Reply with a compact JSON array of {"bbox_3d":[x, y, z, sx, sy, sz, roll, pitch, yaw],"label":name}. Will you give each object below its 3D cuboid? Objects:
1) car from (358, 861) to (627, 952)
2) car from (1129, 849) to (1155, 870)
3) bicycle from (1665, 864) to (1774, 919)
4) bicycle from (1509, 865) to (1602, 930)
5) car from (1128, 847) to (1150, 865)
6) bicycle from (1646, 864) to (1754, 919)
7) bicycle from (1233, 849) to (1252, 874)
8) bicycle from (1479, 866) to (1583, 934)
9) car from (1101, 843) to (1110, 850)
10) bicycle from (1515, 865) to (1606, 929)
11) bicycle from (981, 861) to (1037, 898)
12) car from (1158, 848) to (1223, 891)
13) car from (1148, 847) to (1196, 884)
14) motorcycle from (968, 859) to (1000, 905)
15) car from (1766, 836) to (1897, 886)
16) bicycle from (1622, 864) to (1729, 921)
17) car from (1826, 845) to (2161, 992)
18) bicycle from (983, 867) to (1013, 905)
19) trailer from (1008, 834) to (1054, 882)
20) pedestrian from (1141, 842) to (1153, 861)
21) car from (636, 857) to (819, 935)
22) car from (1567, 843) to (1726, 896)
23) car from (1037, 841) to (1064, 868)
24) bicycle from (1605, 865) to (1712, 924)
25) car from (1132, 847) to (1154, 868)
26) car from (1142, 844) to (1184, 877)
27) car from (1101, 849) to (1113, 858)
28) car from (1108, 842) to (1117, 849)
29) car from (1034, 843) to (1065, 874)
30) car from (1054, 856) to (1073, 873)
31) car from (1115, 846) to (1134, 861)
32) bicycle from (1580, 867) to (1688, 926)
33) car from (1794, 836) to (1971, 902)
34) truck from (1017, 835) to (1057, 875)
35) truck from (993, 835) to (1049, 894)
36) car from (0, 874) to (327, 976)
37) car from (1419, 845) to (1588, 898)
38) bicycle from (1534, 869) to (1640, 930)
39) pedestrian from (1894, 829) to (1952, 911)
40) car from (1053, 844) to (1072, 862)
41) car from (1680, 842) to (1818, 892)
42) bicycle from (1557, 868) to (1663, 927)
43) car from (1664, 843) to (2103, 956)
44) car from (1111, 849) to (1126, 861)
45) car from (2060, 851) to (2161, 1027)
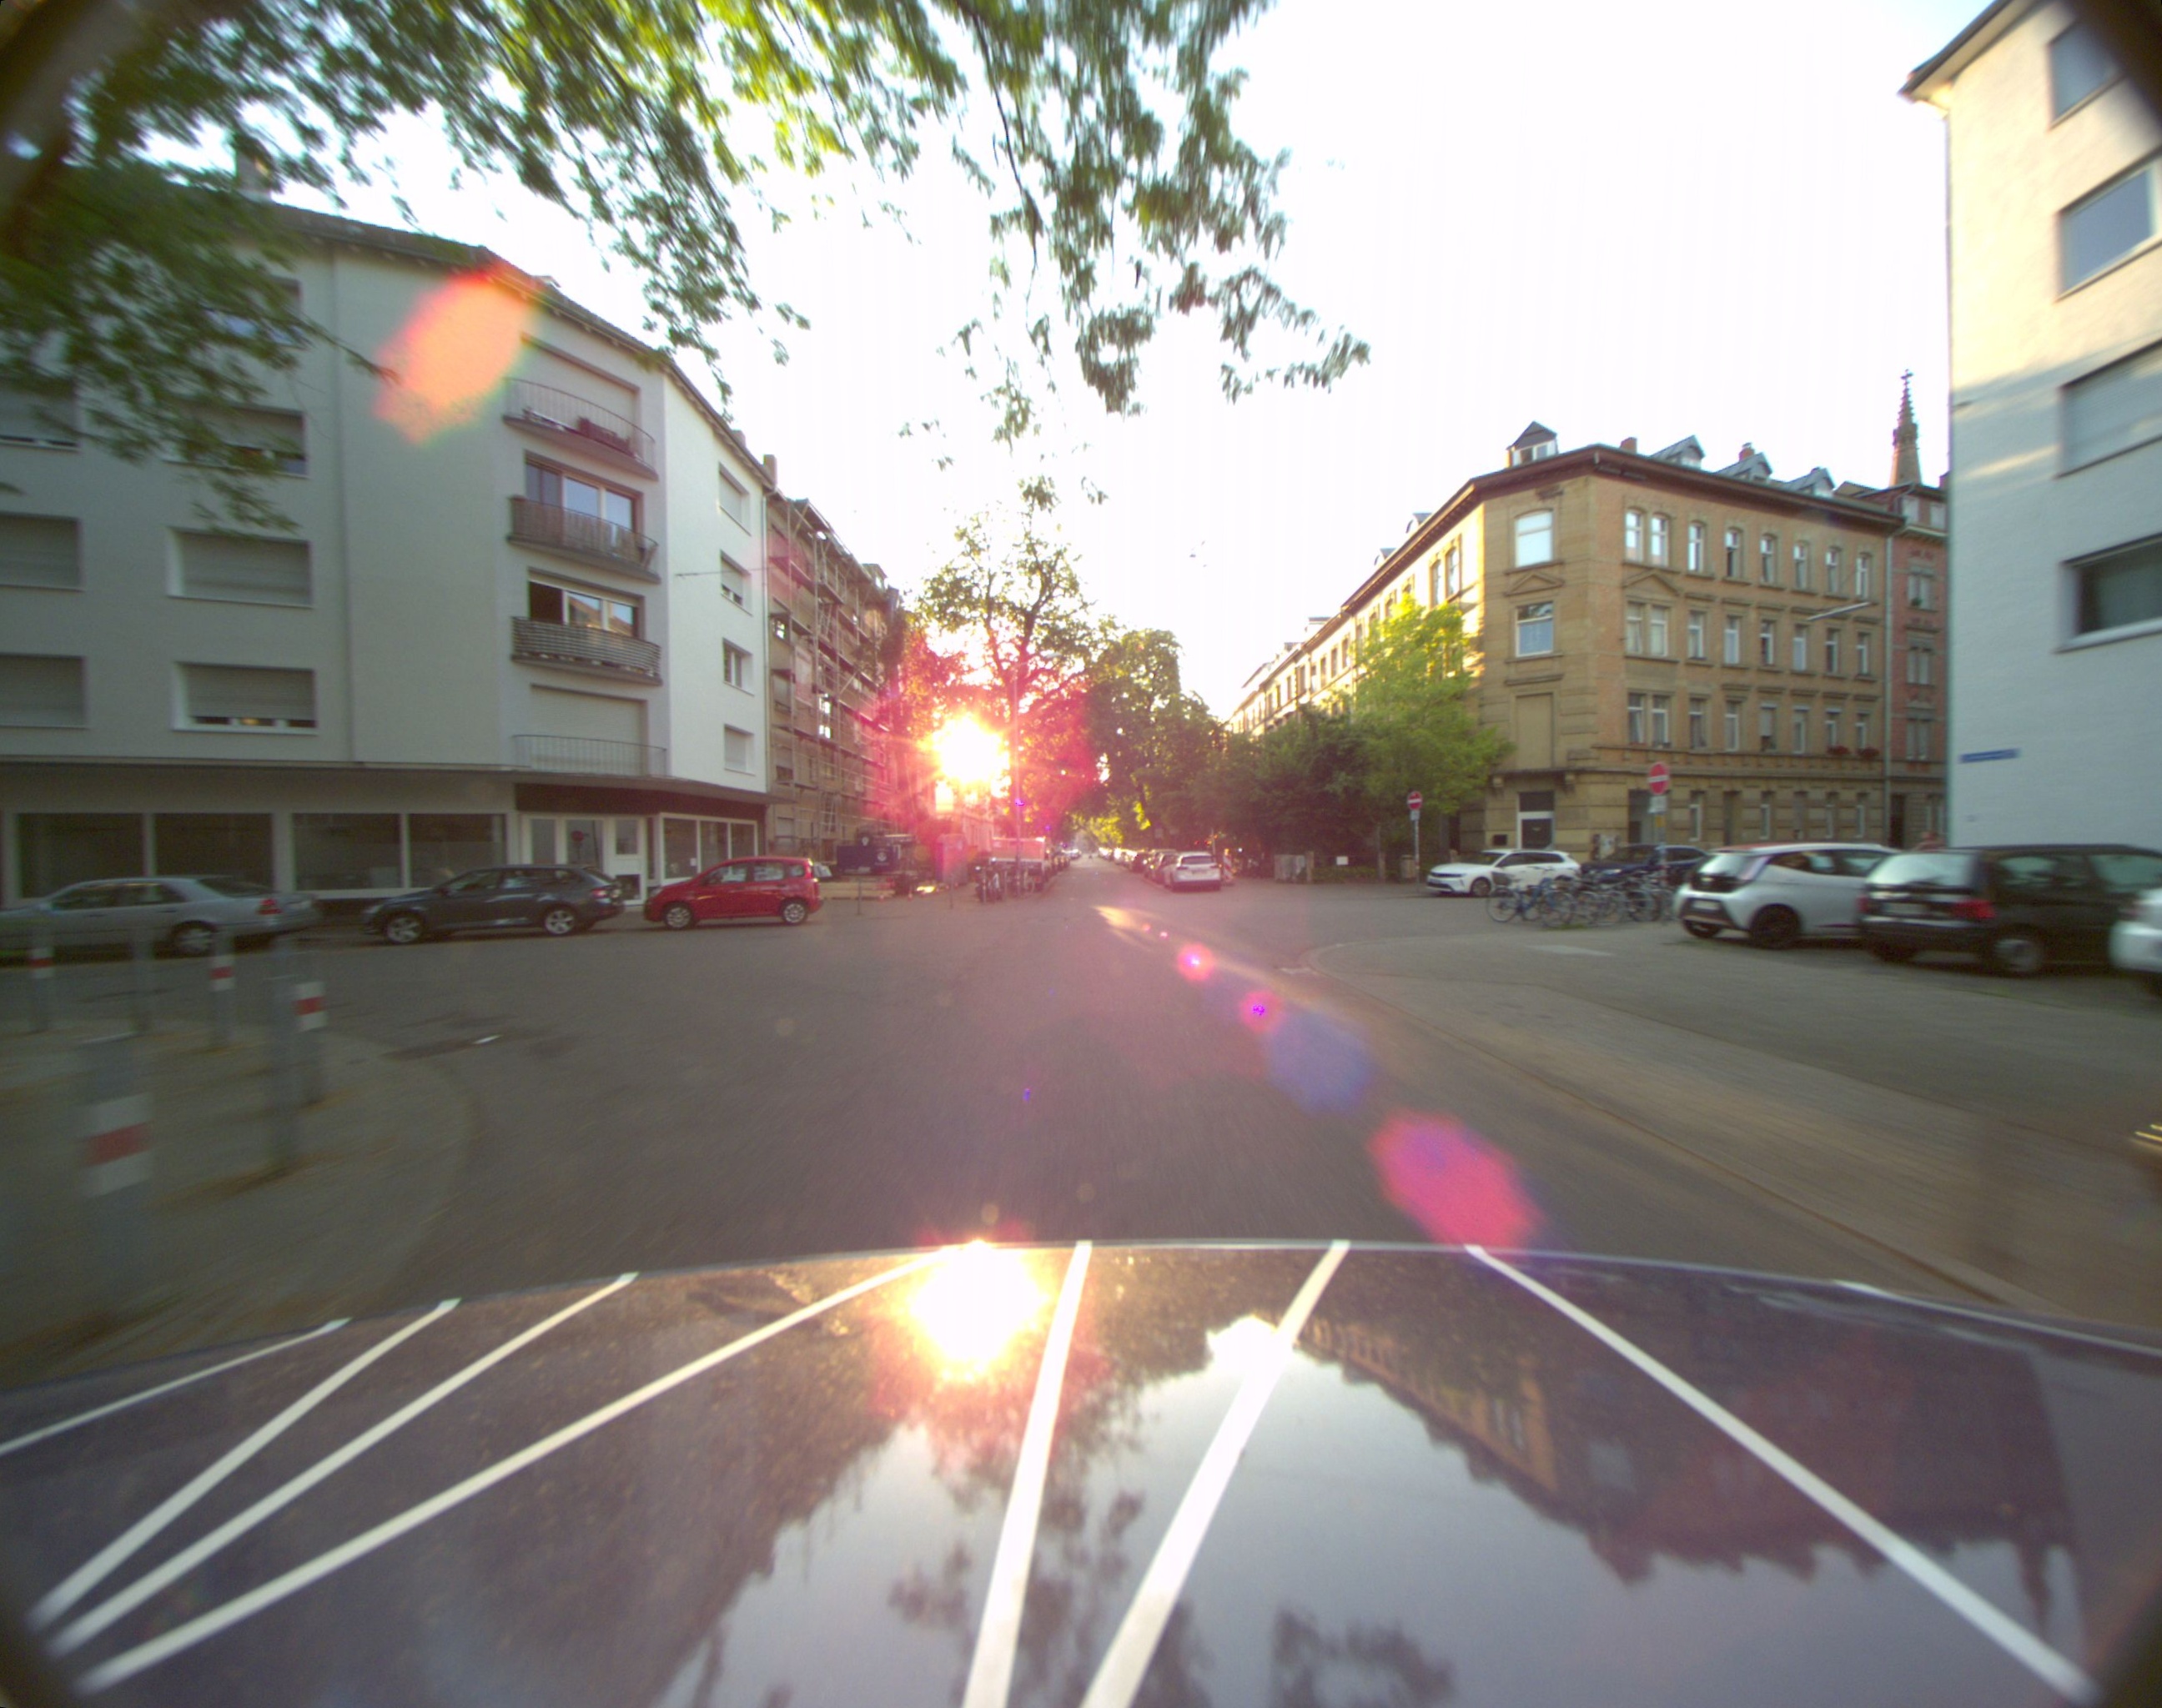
[{"bbox_3d":[-11.560,0.972,15.258,3.900,1.499,1.623,-2,0,-20],"label":"car"},{"bbox_3d":[4.406,0.378,55.598,1.555,1.477,3.693,0,0,-1],"label":"car"},{"bbox_3d":[14.023,0.802,16.754,0.367,1.110,1.848,-2,1,-25],"label":"bicycle"},{"bbox_3d":[9.357,0.829,15.050,0.243,1.174,1.676,-2,1,-25],"label":"bicycle"},{"bbox_3d":[4.880,0.154,64.527,1.607,1.427,3.885,-3,0,2],"label":"car"},{"bbox_3d":[13.510,0.782,16.640,0.367,1.110,1.848,-2,1,-25],"label":"bicycle"},{"bbox_3d":[8.559,0.391,40.296,0.606,1.277,2.489,0,1,21],"label":"bicycle"},{"bbox_3d":[8.738,0.862,14.840,0.338,1.174,1.873,-2,2,-25],"label":"bicycle"},{"bbox_3d":[5.101,-1.583,156.842,1.617,1.433,4.104,-2,0,-1],"label":"car"},{"bbox_3d":[9.566,0.828,15.227,0.243,1.174,1.676,-2,1,-25],"label":"bicycle"},{"bbox_3d":[-2.514,0.902,26.623,1.908,1.251,0.406,1,1,-5],"label":"bicycle"},{"bbox_3d":[4.254,0.572,30.265,1.694,1.493,4.737,-3,0,-1],"label":"car"},{"bbox_3d":[4.258,0.506,36.117,1.694,1.494,4.401,-3,1,0],"label":"car"},{"bbox_3d":[-3.104,0.883,24.544,0.503,1.349,2.062,2,1,7],"label":"motorcycle"},{"bbox_3d":[26.795,0.208,27.148,3.878,1.637,1.705,-1,3,-18],"label":"car"},{"bbox_3d":[12.759,0.795,16.376,0.367,1.145,1.848,-2,1,-25],"label":"bicycle"},{"bbox_3d":[11.273,0.641,8.336,4.099,1.439,1.819,-1,0,11],"label":"car"},{"bbox_3d":[-2.627,0.997,24.220,0.406,1.103,2.156,2,1,8],"label":"bicycle"},{"bbox_3d":[-2.506,0.183,39.264,1.959,2.282,4.644,2,0,0],"label":"trailer"},{"bbox_3d":[7.082,-0.275,81.501,0.869,2.002,1.007,-1,1,-20],"label":"pedestrian"},{"bbox_3d":[-7.648,0.864,16.789,3.481,1.564,1.624,0,0,-19],"label":"car"},{"bbox_3d":[17.947,0.448,24.180,4.107,1.543,1.706,-1,3,-11],"label":"car"},{"bbox_3d":[-2.423,0.061,61.448,1.959,2.047,4.830,2,0,-1],"label":"car"},{"bbox_3d":[12.203,0.830,16.131,0.367,1.145,1.848,-2,1,-25],"label":"bicycle"},{"bbox_3d":[4.896,0.246,60.085,1.555,1.477,3.694,-3,0,3],"label":"car"},{"bbox_3d":[4.376,0.318,40.978,1.694,1.554,4.402,-3,0,0],"label":"car"},{"bbox_3d":[4.263,-0.098,124.370,1.617,1.433,3.753,-3,0,-2],"label":"car"},{"bbox_3d":[6.790,-1.781,163.858,1.617,1.433,4.104,-2,0,-1],"label":"car"},{"bbox_3d":[-2.033,0.302,50.482,1.843,1.931,4.613,2,0,-1],"label":"car"},{"bbox_3d":[-1.630,0.964,71.014,1.669,1.491,3.693,2,0,-3],"label":"car"},{"bbox_3d":[4.516,-0.065,79.133,1.668,1.484,3.710,-3,0,0],"label":"car"},{"bbox_3d":[11.344,0.846,15.655,0.367,1.103,1.848,-2,1,-25],"label":"bicycle"},{"bbox_3d":[20.217,0.318,19.178,3.717,1.465,1.795,-1,3,-22],"label":"car"},{"bbox_3d":[-2.519,0.063,44.900,1.959,2.233,4.645,2,0,1],"label":"truck"},{"bbox_3d":[-2.429,0.331,32.179,1.982,2.232,6.774,-1,1,-2],"label":"truck"},{"bbox_3d":[-16.508,1.184,13.351,4.239,1.421,1.653,-2,2,-22],"label":"car"},{"bbox_3d":[13.034,0.512,23.536,4.467,1.543,1.708,-1,0,-9],"label":"car"},{"bbox_3d":[10.155,0.888,15.323,0.367,1.103,1.848,-2,1,-25],"label":"bicycle"},{"bbox_3d":[18.667,0.365,16.854,0.503,1.754,0.623,-2,-2,-21],"label":"pedestrian"},{"bbox_3d":[-1.900,-0.096,76.110,1.669,1.669,4.118,2,0,-5],"label":"car"},{"bbox_3d":[22.589,0.386,25.717,3.878,1.543,1.706,-1,3,-18],"label":"car"},{"bbox_3d":[10.863,0.853,15.669,0.367,1.103,1.848,-2,1,-25],"label":"bicycle"},{"bbox_3d":[11.121,0.624,10.850,4.100,1.439,1.710,-1,0,9],"label":"car"},{"bbox_3d":[5.387,0.109,108.884,1.871,1.678,4.591,-2,0,0],"label":"car"},{"bbox_3d":[10.603,0.664,5.787,3.569,1.439,1.819,-1,0,9],"label":"car"}]
